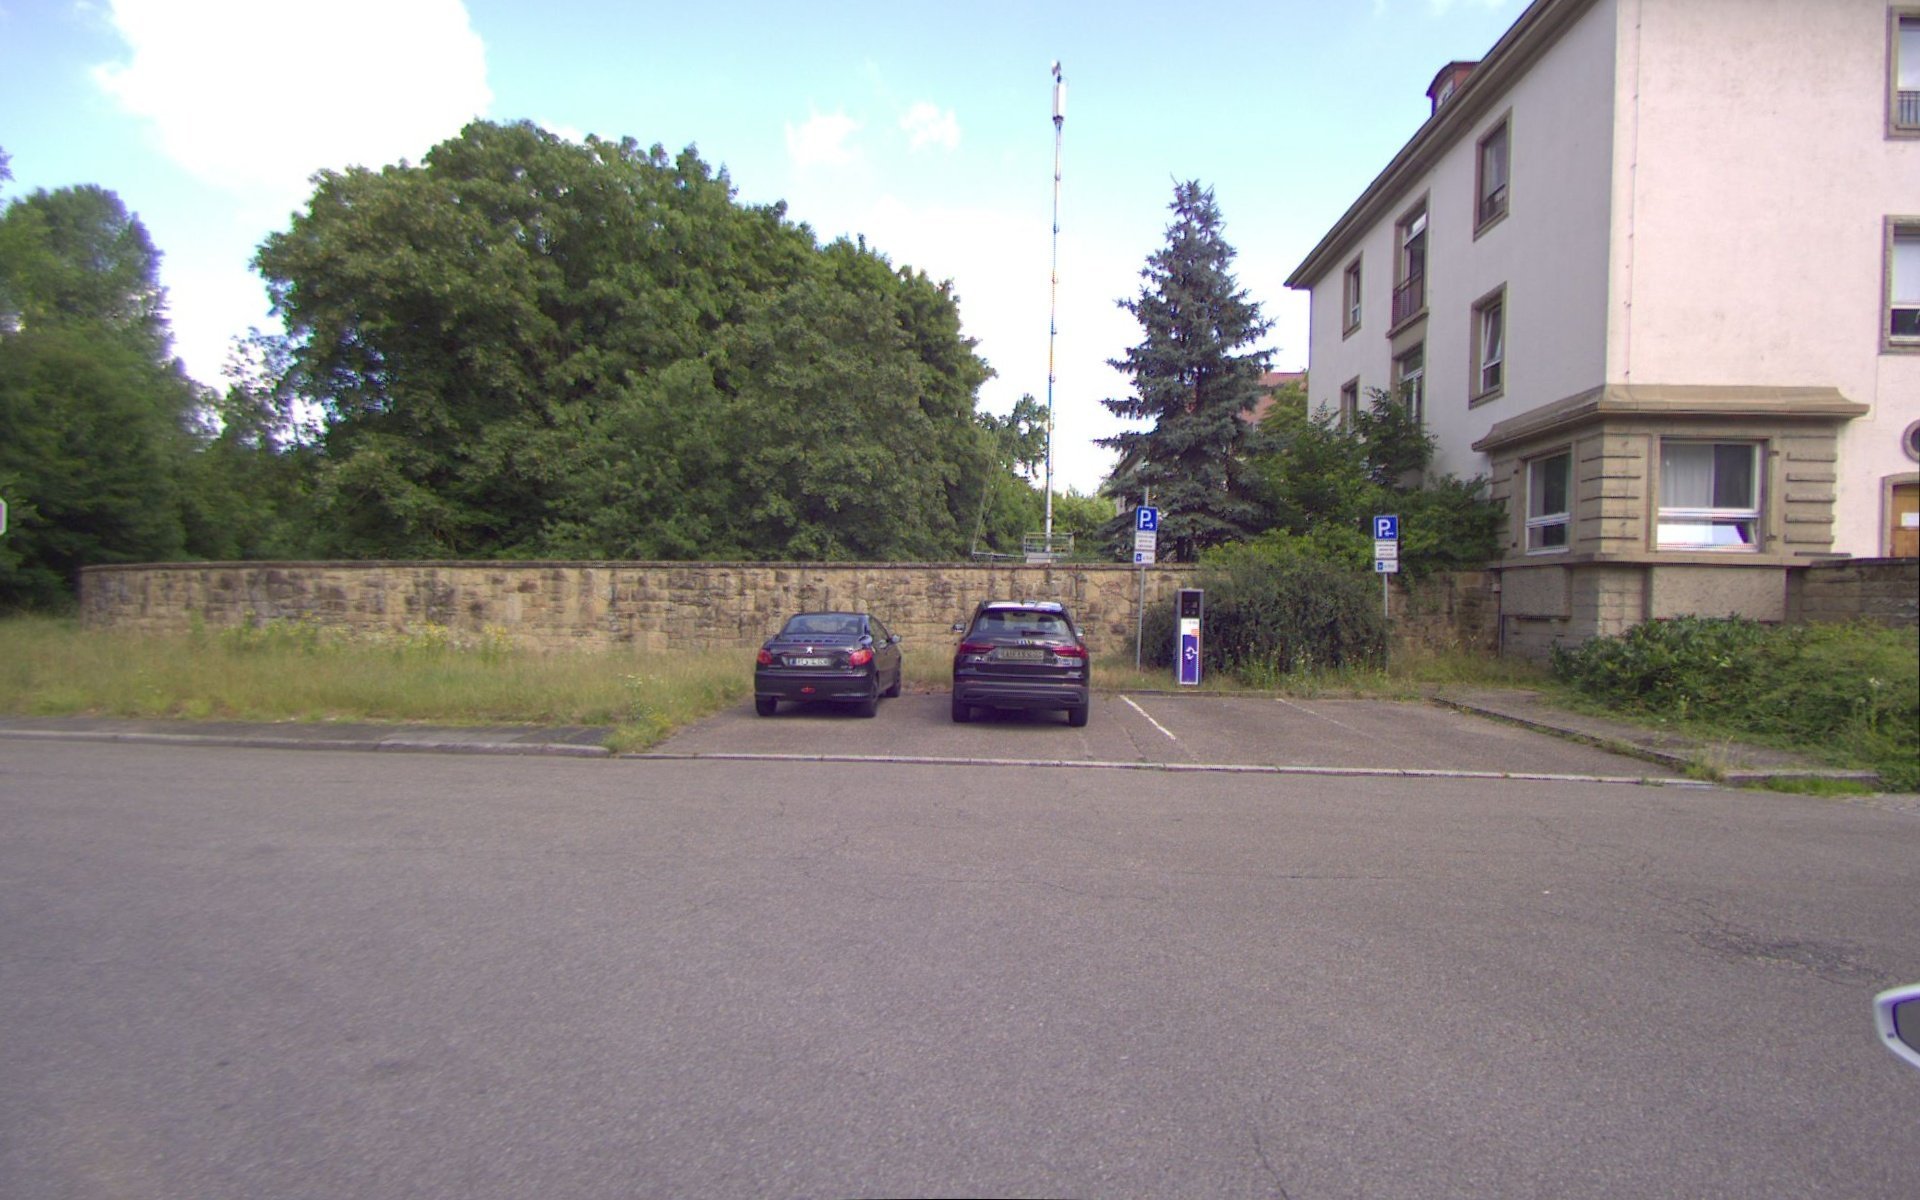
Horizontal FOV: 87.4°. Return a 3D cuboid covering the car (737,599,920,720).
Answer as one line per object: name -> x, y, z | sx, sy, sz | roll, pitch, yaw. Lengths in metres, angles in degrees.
car -> -1.772, 0.757, 14.880 | 1.841, 1.461, 4.001 | 0, 1, 5

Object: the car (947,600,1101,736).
car -> 0.942, 0.822, 14.228 | 1.861, 1.567, 4.001 | 0, 1, 5
